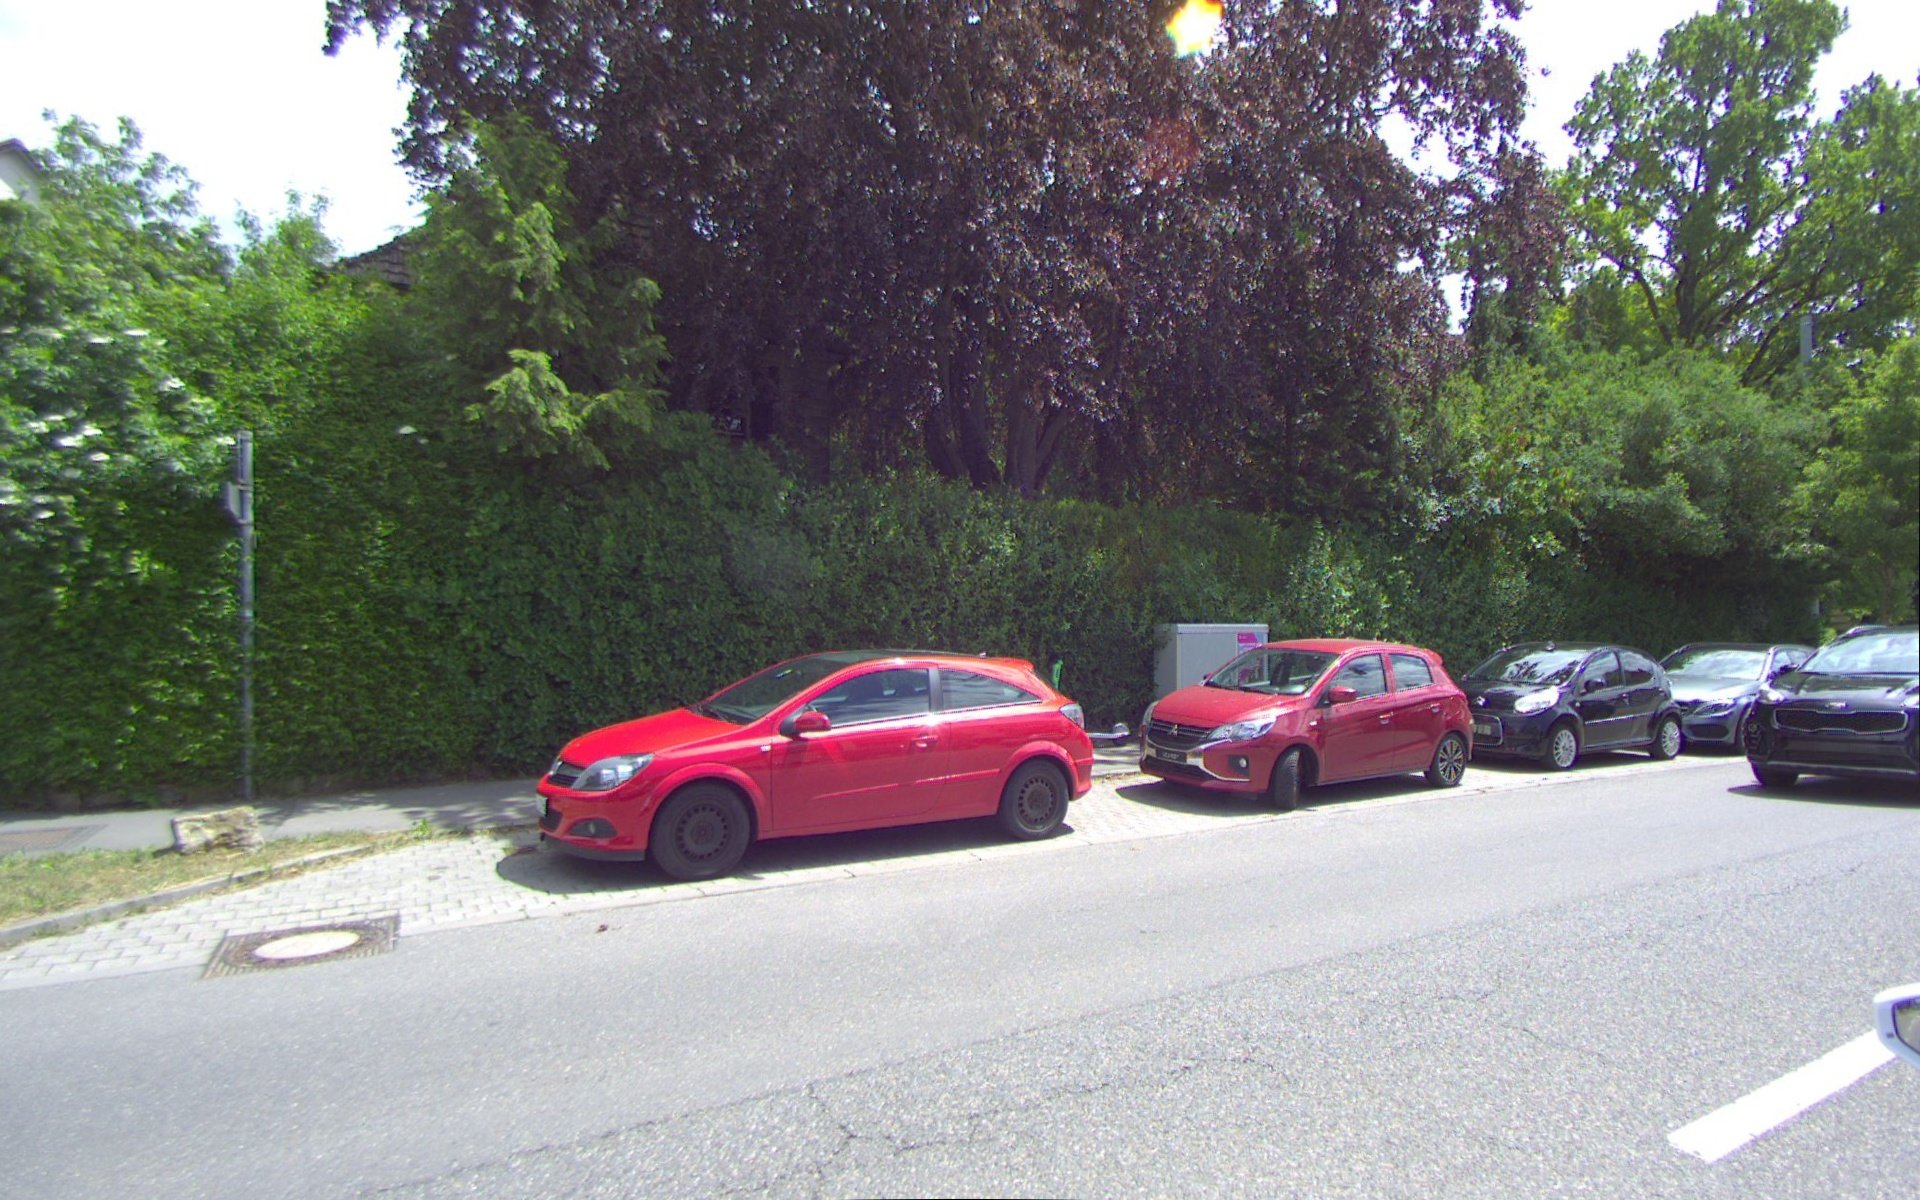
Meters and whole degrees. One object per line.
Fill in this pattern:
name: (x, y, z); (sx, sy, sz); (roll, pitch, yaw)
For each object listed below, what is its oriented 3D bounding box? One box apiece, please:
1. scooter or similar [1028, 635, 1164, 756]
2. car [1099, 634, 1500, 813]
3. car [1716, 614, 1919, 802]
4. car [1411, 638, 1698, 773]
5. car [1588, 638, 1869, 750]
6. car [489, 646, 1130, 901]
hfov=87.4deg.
scooter or similar: (1.727, 1.167, 12.700); (1.629, 1.431, 0.667); (1, -1, -29)
car: (3.528, 1.116, 10.229); (4.058, 1.470, 1.641); (2, -1, -31)
car: (9.849, 1.023, 10.341); (4.103, 1.637, 1.825); (1, -4, -30)
car: (7.604, 1.247, 12.797); (3.552, 1.470, 1.588); (2, -1, -29)
car: (11.372, 1.282, 14.776); (4.632, 1.383, 1.686); (2, -1, -31)
car: (-1.002, 1.074, 7.588); (4.512, 1.396, 1.653); (2, -1, -30)
